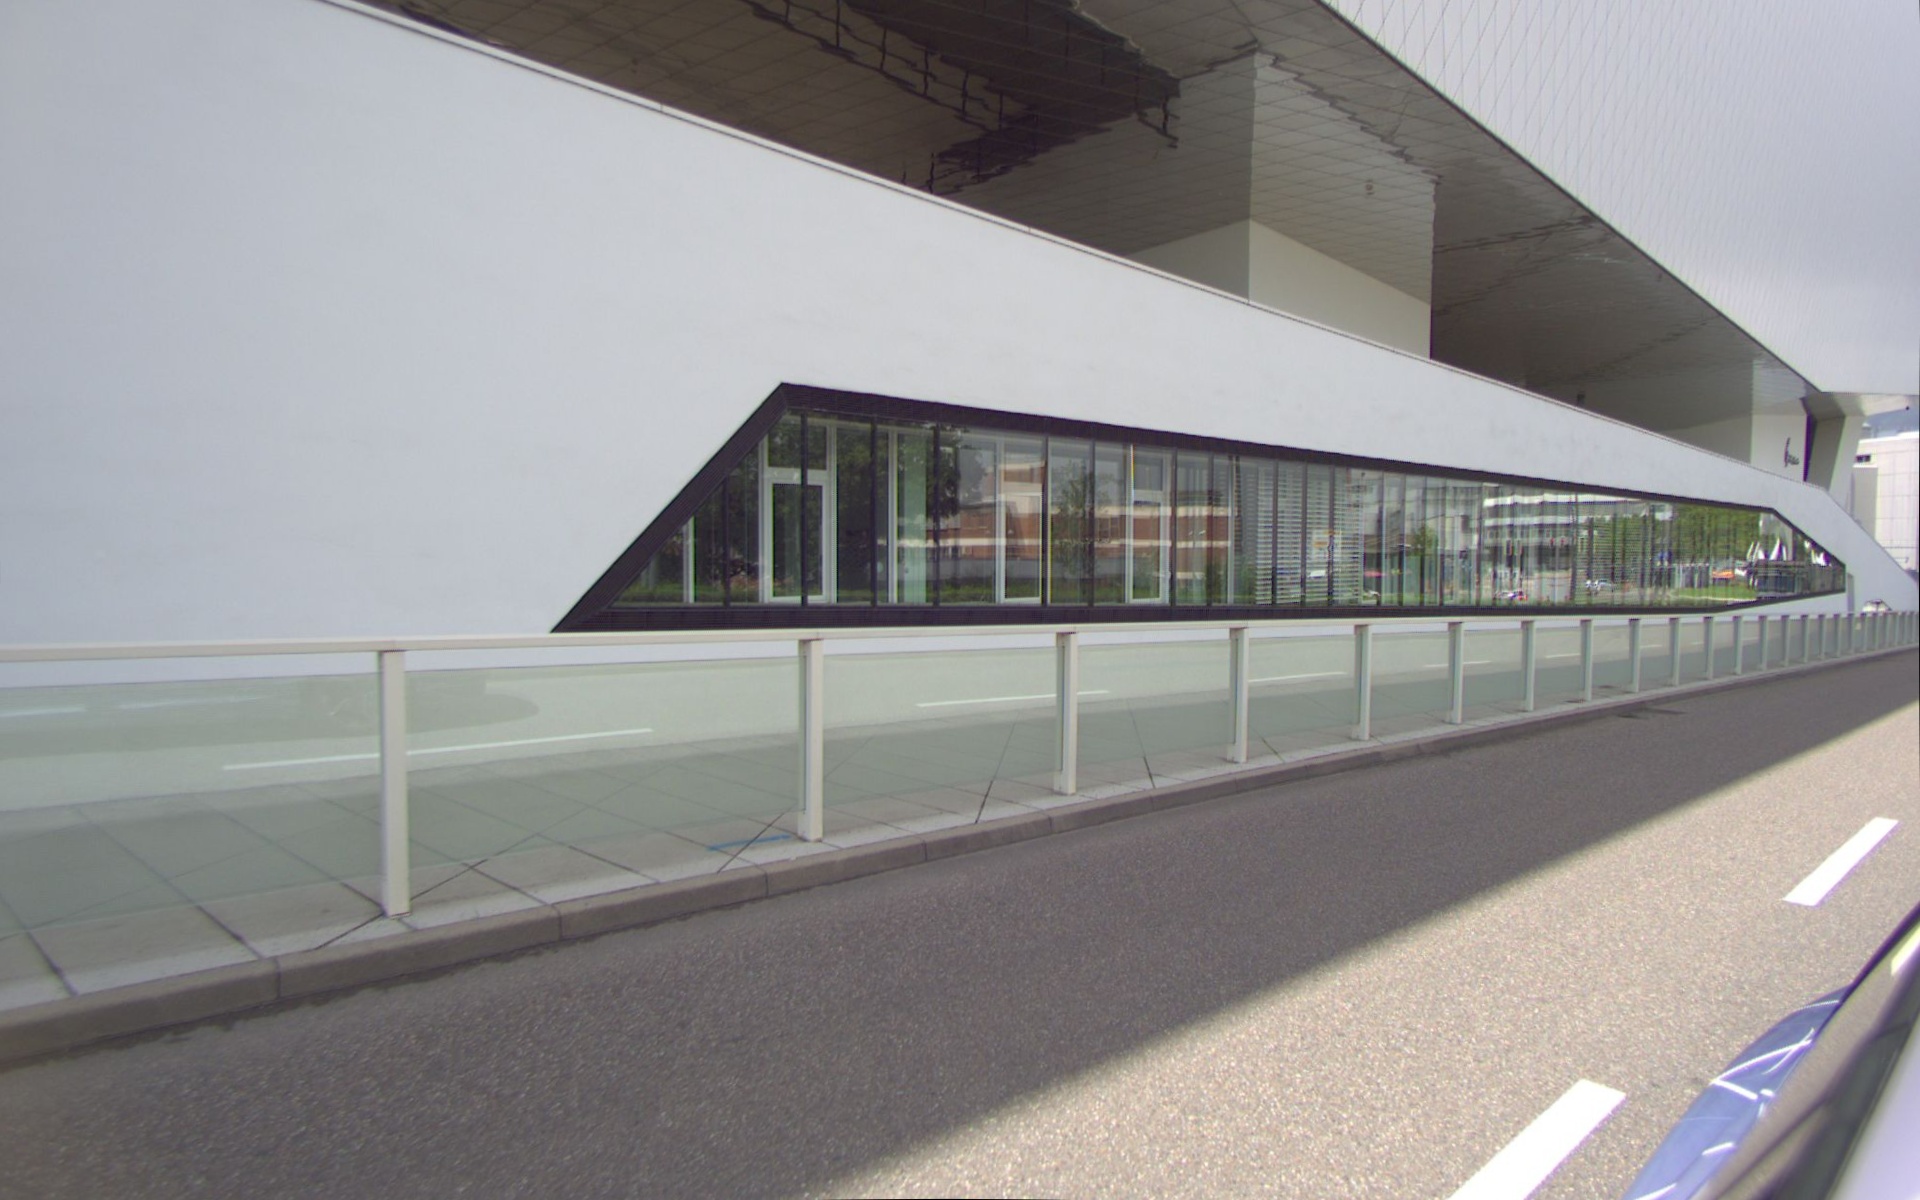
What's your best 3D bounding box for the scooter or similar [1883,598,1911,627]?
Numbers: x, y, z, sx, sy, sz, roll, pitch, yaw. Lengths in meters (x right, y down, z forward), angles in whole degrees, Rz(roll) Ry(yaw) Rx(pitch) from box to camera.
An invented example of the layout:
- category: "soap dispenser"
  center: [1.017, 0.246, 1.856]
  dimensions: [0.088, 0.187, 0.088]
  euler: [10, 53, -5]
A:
- category: "scooter or similar"
  center: [42.916, 0.565, 46.366]
  dimensions: [1.918, 1.258, 0.708]
  euler: [-1, 2, -41]
